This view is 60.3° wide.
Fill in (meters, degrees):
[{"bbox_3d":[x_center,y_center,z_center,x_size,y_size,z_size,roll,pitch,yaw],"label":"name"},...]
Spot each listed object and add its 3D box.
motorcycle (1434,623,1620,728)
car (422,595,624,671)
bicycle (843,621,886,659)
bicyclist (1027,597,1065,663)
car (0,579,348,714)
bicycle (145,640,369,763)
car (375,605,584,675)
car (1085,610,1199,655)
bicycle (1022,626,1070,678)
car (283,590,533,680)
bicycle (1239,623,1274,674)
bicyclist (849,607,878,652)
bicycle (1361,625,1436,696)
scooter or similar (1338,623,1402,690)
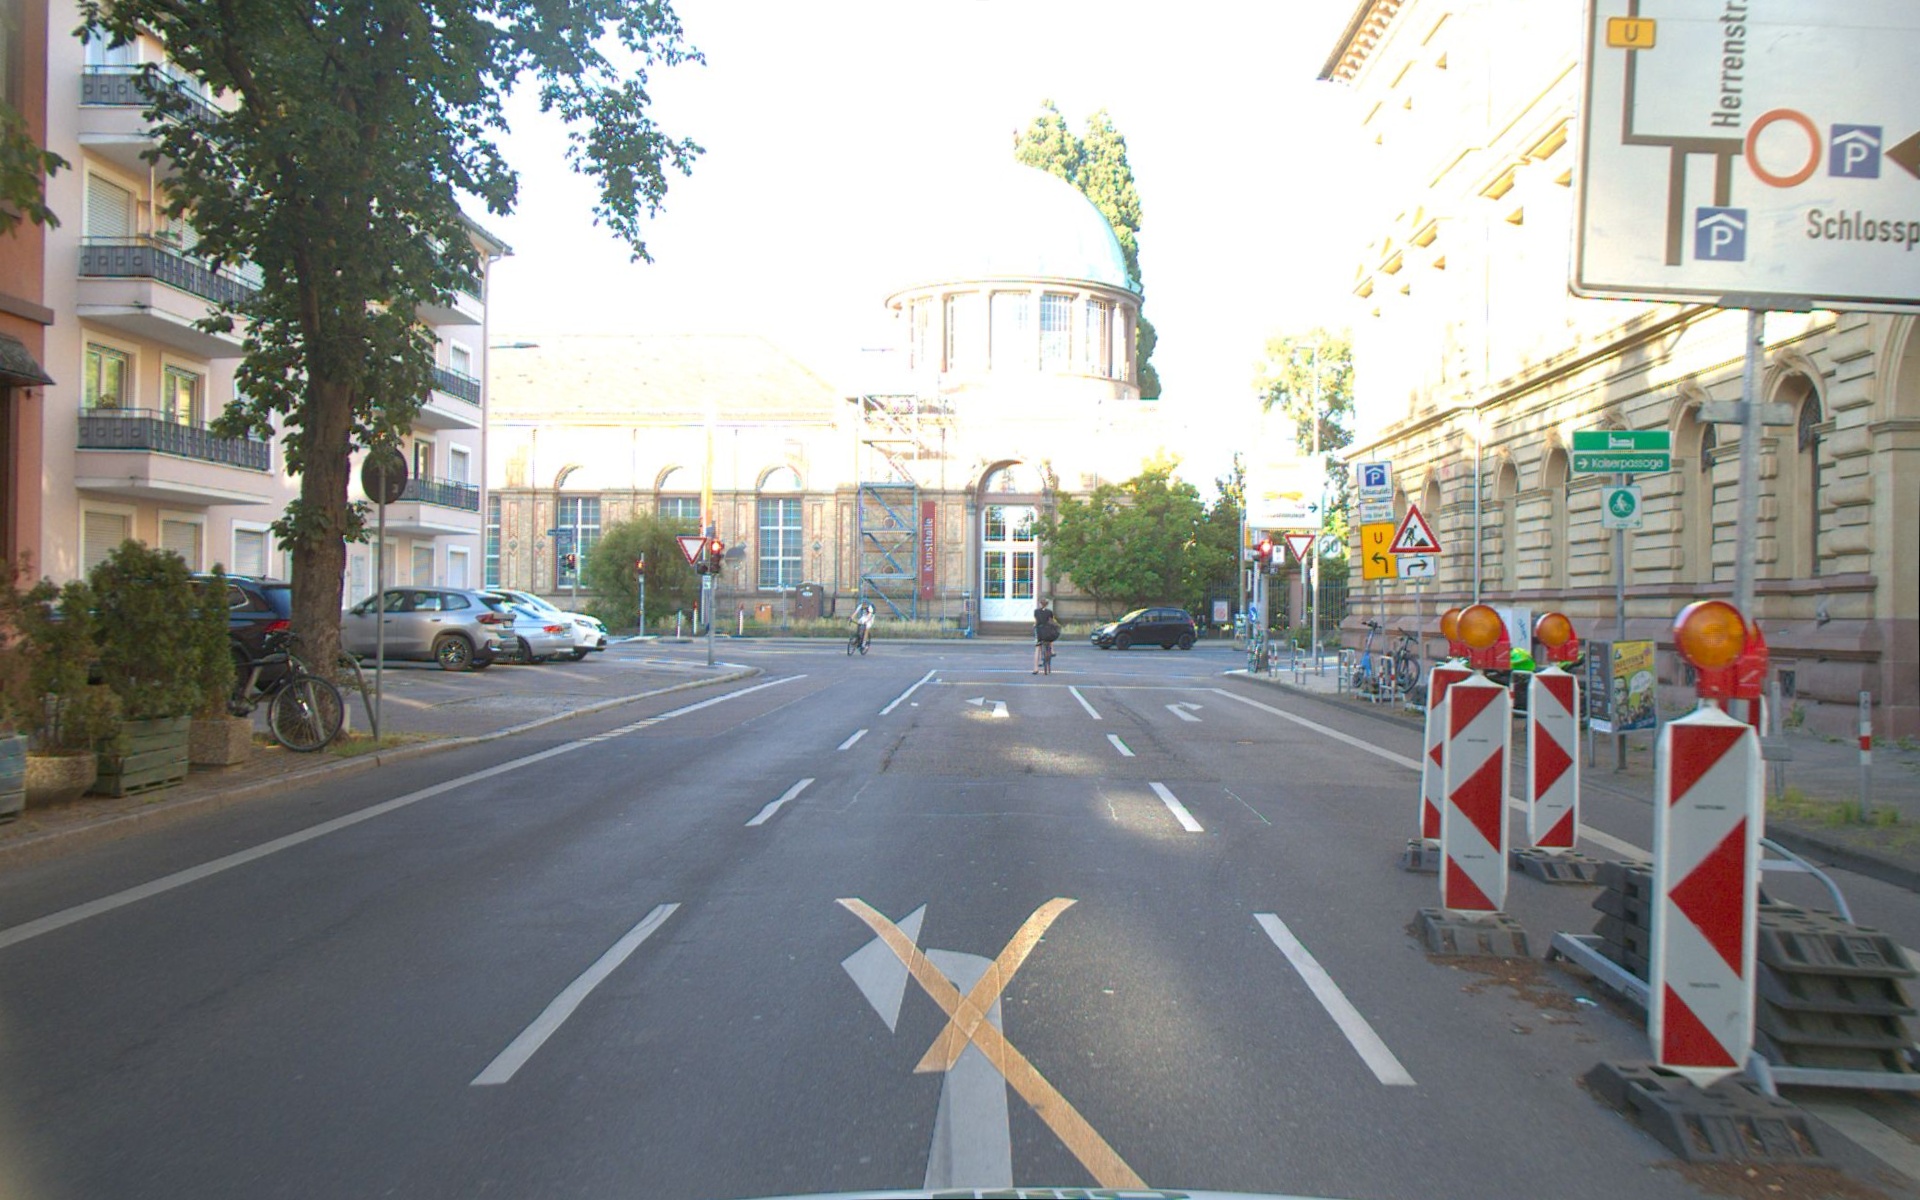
[{"bbox_3d":[7.074,0.948,20.669,2.059,1.236,0.708,-3,-1,31],"label":"motorcycle"},{"bbox_3d":[-10.583,0.780,40.295,4.349,1.669,1.942,2,0,0],"label":"car"},{"bbox_3d":[-2.970,1.250,51.538,0.612,1.176,2.053,-1,-2,19],"label":"bicycle"},{"bbox_3d":[2.015,0.703,38.637,0.701,1.529,0.851,-1,-2,16],"label":"bicyclist"},{"bbox_3d":[-11.181,0.625,23.344,4.328,1.694,1.864,2,0,0],"label":"car"},{"bbox_3d":[-6.612,0.947,15.626,1.830,1.123,0.610,0,0,-5],"label":"bicycle"},{"bbox_3d":[-10.854,0.890,37.562,4.179,1.404,1.736,2,0,0],"label":"car"},{"bbox_3d":[6.561,1.157,59.647,3.772,1.497,1.659,-1,1,-11],"label":"car"},{"bbox_3d":[2.023,1.216,38.654,0.696,1.176,2.070,-1,-2,16],"label":"bicycle"},{"bbox_3d":[-11.024,0.687,33.277,4.328,1.633,1.916,2,0,0],"label":"car"},{"bbox_3d":[7.192,1.189,40.201,0.570,1.209,1.920,0,-2,2],"label":"bicycle"},{"bbox_3d":[-2.992,0.910,51.477,0.612,1.388,0.929,-1,-2,19],"label":"bicyclist"},{"bbox_3d":[7.750,1.050,29.305,0.810,1.154,1.945,-3,0,2],"label":"bicycle"},{"bbox_3d":[7.646,1.051,30.884,1.106,1.216,0.584,0,0,9],"label":"scooter or similar"}]
